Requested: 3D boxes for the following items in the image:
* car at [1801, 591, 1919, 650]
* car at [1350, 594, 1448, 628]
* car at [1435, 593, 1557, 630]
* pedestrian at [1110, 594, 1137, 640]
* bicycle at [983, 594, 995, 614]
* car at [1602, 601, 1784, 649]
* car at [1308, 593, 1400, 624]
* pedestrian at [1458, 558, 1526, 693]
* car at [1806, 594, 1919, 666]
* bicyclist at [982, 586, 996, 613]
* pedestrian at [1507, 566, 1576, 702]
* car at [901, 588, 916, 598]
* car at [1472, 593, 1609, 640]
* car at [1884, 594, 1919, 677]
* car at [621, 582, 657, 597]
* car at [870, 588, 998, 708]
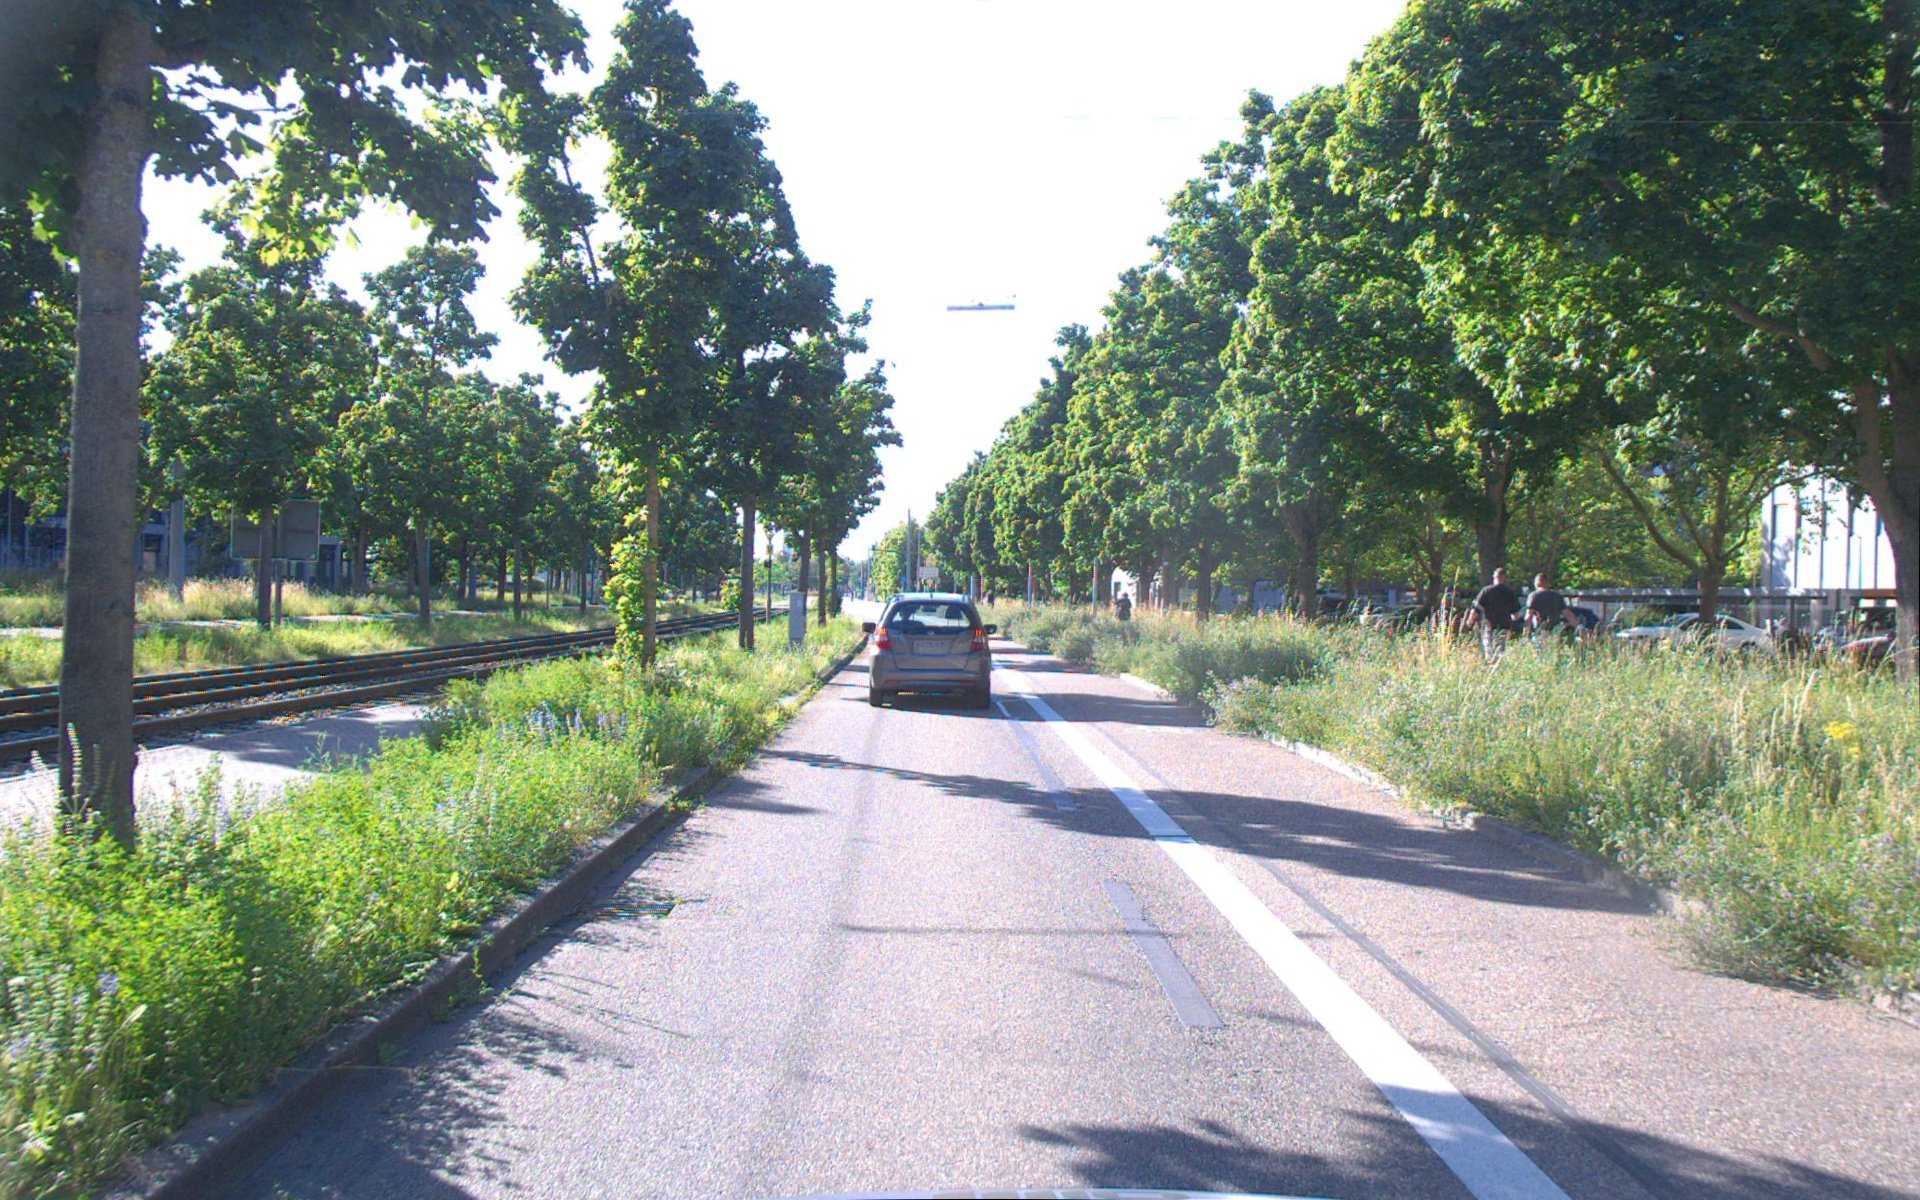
[{"bbox_3d":[32.490,0.711,58.372,4.654,1.984,1.973,1,1,-3],"label":"car"},{"bbox_3d":[20.339,0.490,76.725,4.079,1.457,1.825,2,0,1],"label":"car"},{"bbox_3d":[21.158,0.454,65.368,4.203,1.347,1.941,1,1,2],"label":"car"},{"bbox_3d":[5.845,0.594,59.108,0.807,1.596,0.762,2,0,-1],"label":"pedestrian"},{"bbox_3d":[1.910,0.275,108.823,0.474,1.225,2.139,1,-2,-8],"label":"bicycle"},{"bbox_3d":[21.517,0.732,48.663,4.605,1.293,1.806,0,1,-5],"label":"car"},{"bbox_3d":[19.942,0.419,83.844,4.266,1.484,1.689,1,0,1],"label":"car"},{"bbox_3d":[7.859,0.372,24.479,0.693,1.951,0.816,2,0,-1],"label":"pedestrian"},{"bbox_3d":[21.419,0.656,37.134,4.155,1.562,1.761,0,0,-12],"label":"car"},{"bbox_3d":[1.906,-0.037,108.799,0.670,1.750,0.900,1,-1,-10],"label":"bicyclist"},{"bbox_3d":[8.615,0.499,24.531,0.693,1.964,0.816,2,0,-1],"label":"pedestrian"},{"bbox_3d":[-7.346,-0.998,236.370,1.741,1.411,3.862,0,0,-9],"label":"car"},{"bbox_3d":[21.062,0.593,60.110,4.306,1.624,1.882,1,0,-6],"label":"car"},{"bbox_3d":[21.979,0.749,34.902,4.258,1.730,1.761,0,0,-12],"label":"car"},{"bbox_3d":[-43.337,-1.377,223.327,1.823,2.008,4.770,1,1,35],"label":"car"},{"bbox_3d":[-0.434,0.617,23.272,1.592,1.526,3.454,2,0,-4],"label":"car"}]
